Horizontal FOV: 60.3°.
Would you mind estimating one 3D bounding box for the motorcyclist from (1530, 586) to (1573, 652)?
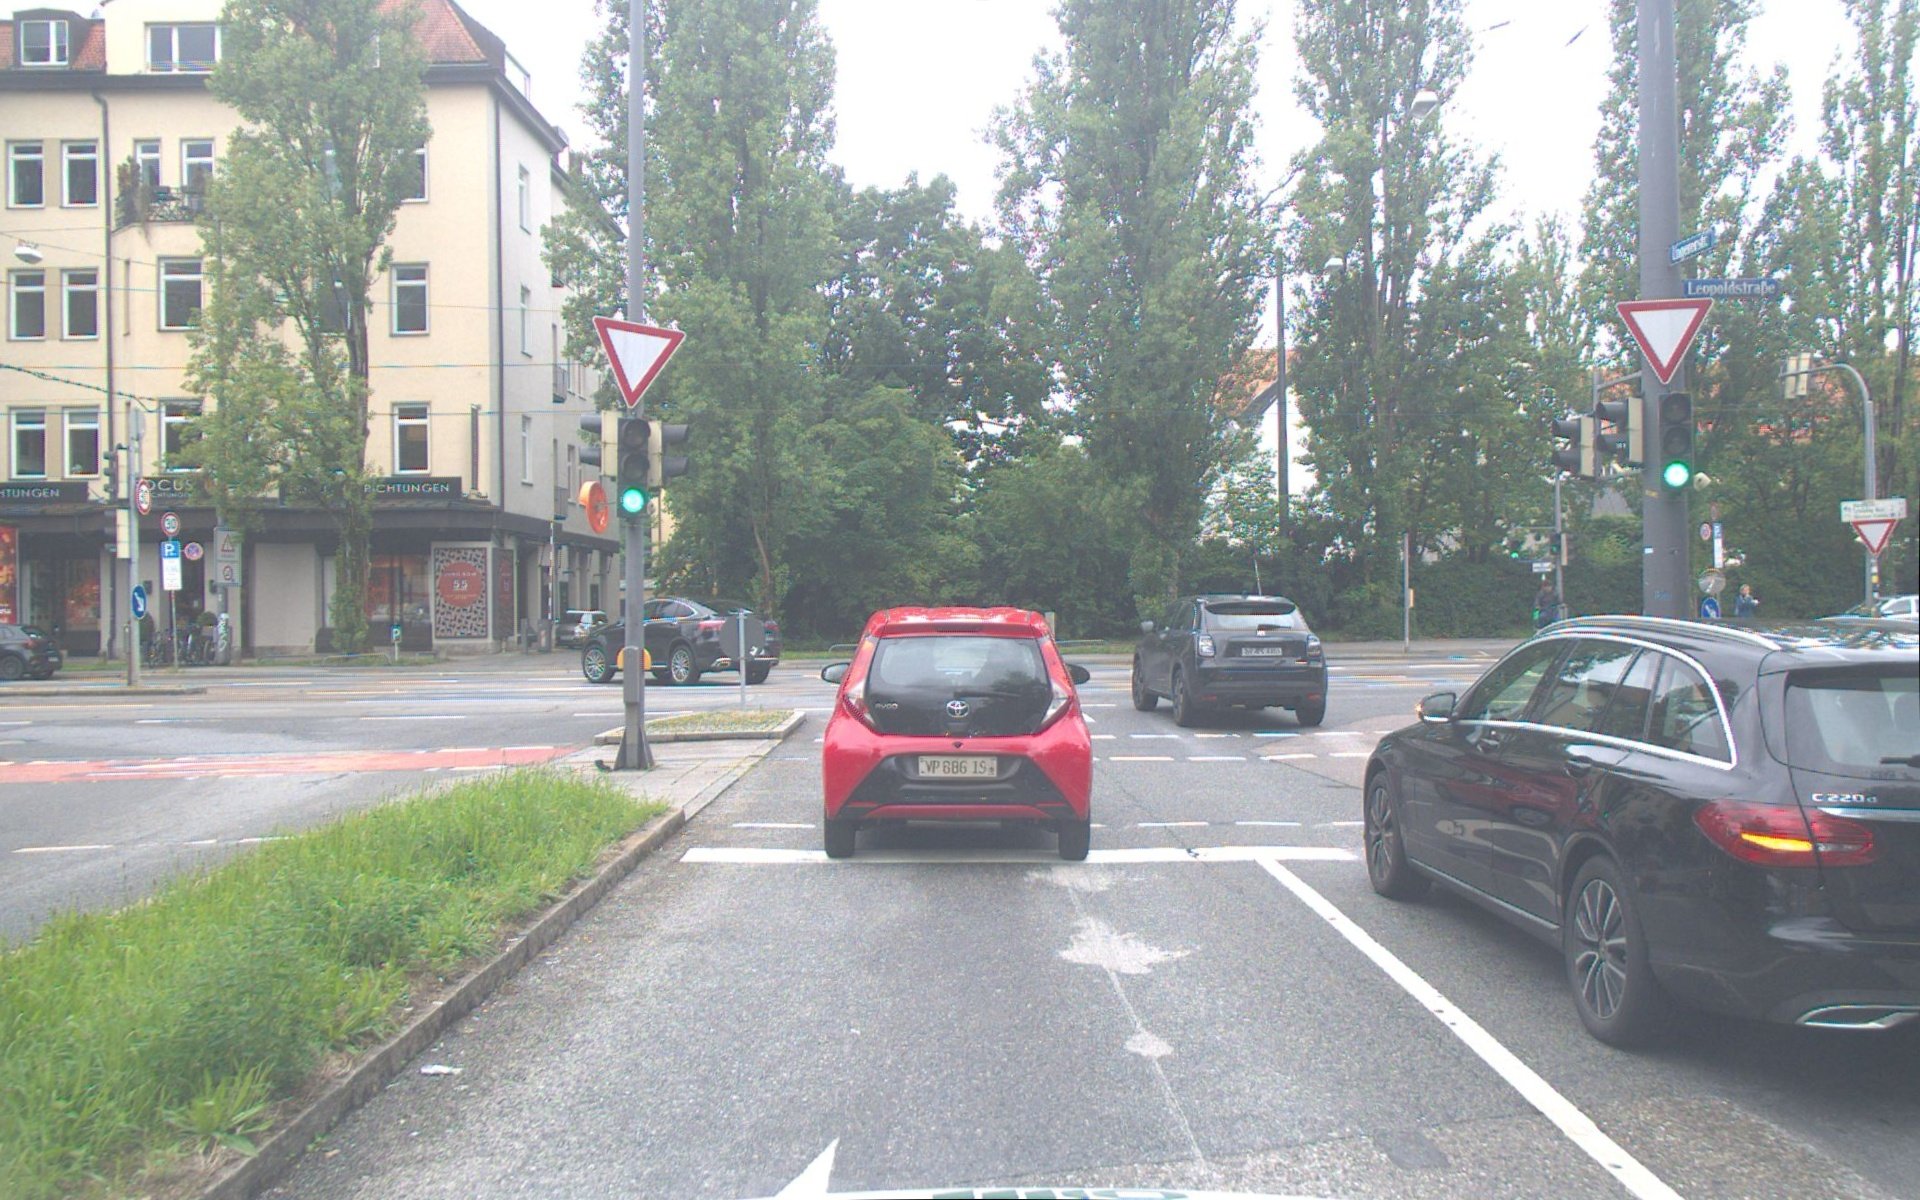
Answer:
[{"bbox_3d":[13.419,0.427,37.560,0.607,1.468,0.881,1,-1,-5],"label":"motorcyclist"}]

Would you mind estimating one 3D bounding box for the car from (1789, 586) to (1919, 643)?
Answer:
[{"bbox_3d":[25.616,0.390,45.984,4.251,1.512,1.786,-1,-1,-2],"label":"car"}]

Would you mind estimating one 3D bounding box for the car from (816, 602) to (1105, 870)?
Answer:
[{"bbox_3d":[0.029,0.763,10.927,1.595,1.465,3.377,-1,0,1],"label":"car"}]

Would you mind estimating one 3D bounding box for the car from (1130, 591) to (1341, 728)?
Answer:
[{"bbox_3d":[3.333,0.691,20.732,1.745,1.512,3.997,-1,-1,-3],"label":"car"}]

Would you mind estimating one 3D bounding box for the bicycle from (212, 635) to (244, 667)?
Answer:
[{"bbox_3d":[-21.385,1.478,48.305,0.380,0.899,1.370,-1,0,-3],"label":"bicycle"}]

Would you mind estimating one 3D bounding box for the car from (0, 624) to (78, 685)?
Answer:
[{"bbox_3d":[-25.002,1.407,42.292,3.908,1.491,1.803,-1,-1,-4],"label":"car"}]

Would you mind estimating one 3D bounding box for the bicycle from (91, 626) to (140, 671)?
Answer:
[{"bbox_3d":[-23.770,1.356,46.577,0.485,1.206,1.888,-1,0,-3],"label":"bicycle"}]

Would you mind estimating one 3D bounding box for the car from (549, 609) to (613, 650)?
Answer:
[{"bbox_3d":[-14.266,1.090,62.429,1.691,1.467,3.997,-1,0,-4],"label":"car"}]

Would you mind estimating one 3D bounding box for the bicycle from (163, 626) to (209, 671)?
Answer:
[{"bbox_3d":[-21.754,1.354,46.518,0.485,1.206,1.888,-1,0,-3],"label":"bicycle"}]

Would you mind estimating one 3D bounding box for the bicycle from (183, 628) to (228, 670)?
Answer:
[{"bbox_3d":[-21.240,1.369,46.577,0.485,1.100,1.888,-1,0,-3],"label":"bicycle"}]

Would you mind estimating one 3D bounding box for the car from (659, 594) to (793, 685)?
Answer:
[{"bbox_3d":[-4.555,0.708,31.655,1.710,1.576,4.551,-1,0,-19],"label":"car"}]

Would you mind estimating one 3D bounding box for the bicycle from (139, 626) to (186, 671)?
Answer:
[{"bbox_3d":[-22.441,1.347,46.586,0.485,1.206,1.888,-1,0,-3],"label":"bicycle"}]

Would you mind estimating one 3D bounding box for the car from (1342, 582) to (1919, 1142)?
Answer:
[{"bbox_3d":[3.088,0.753,7.036,1.825,1.576,4.703,1,0,0],"label":"car"}]

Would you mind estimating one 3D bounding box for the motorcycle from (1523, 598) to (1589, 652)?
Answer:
[{"bbox_3d":[13.440,0.563,37.359,0.616,1.190,2.027,1,-1,-5],"label":"motorcycle"}]

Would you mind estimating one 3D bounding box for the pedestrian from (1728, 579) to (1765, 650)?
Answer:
[{"bbox_3d":[18.795,0.350,39.500,0.689,1.692,0.549,0,-1,40],"label":"pedestrian"}]
